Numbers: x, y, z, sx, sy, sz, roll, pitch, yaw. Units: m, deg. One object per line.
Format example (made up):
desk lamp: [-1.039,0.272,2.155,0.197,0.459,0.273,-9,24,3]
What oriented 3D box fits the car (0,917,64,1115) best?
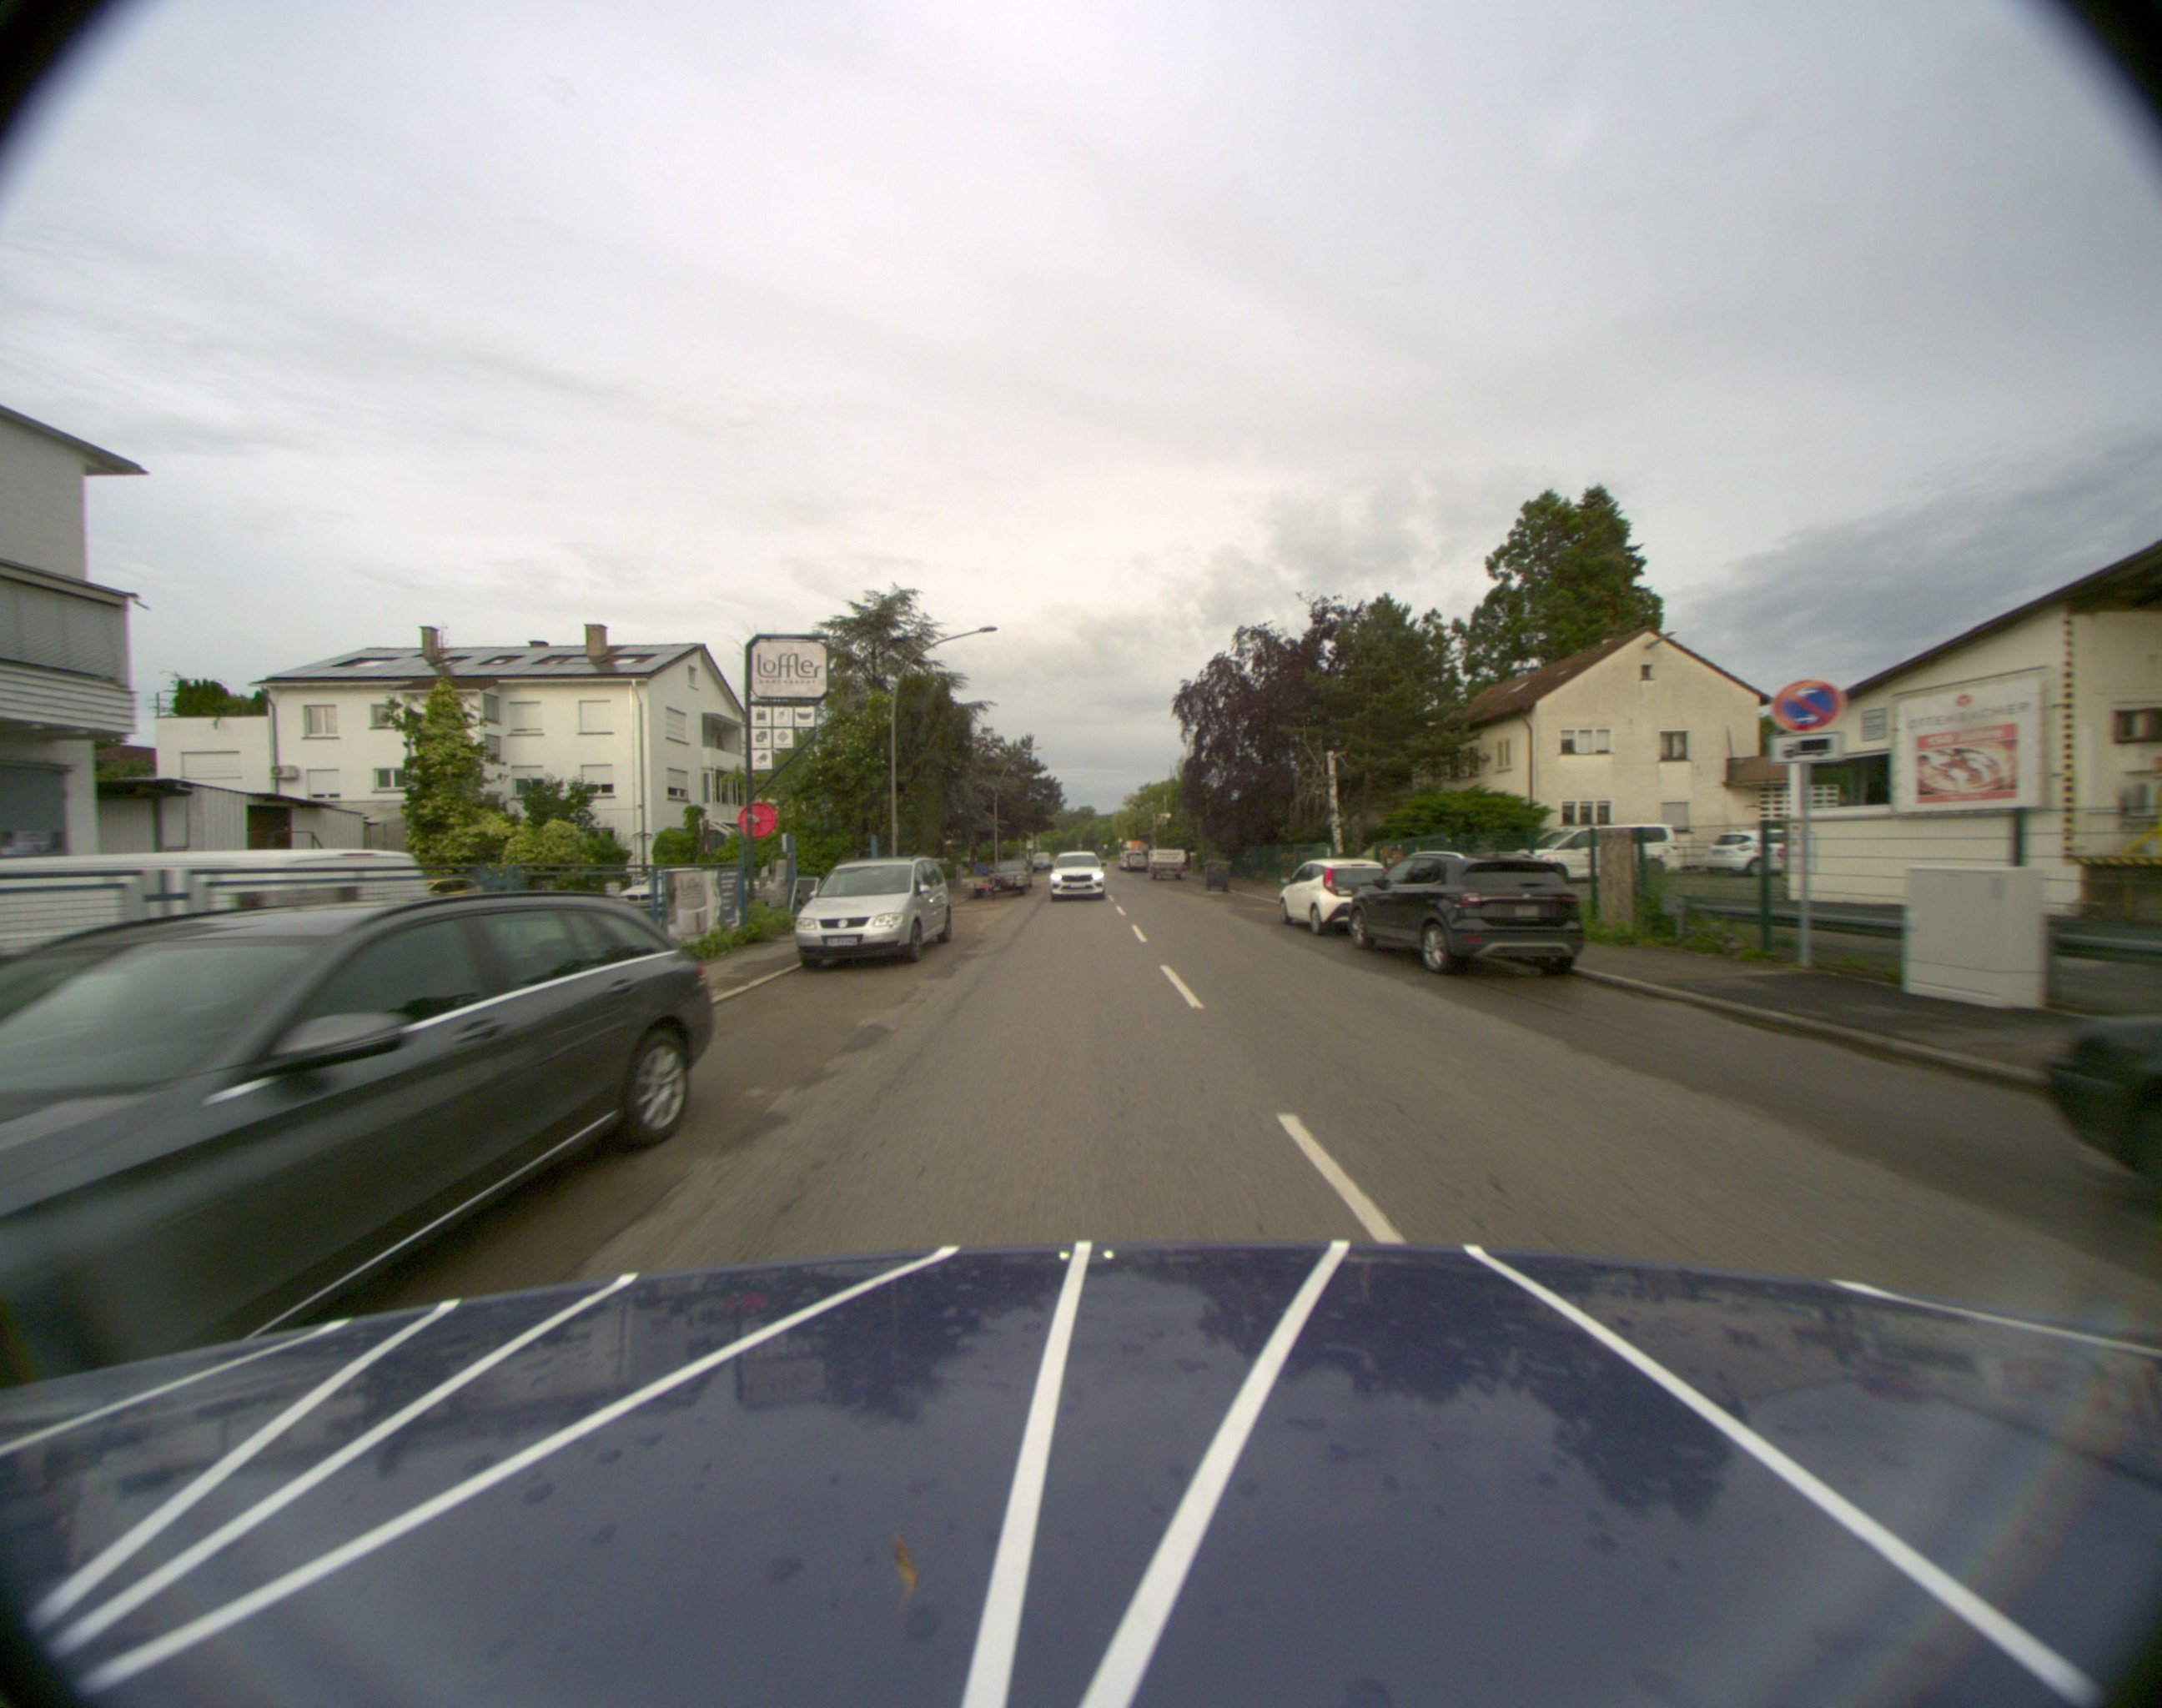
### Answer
car: [-9.797,1.252,4.712,4.331,1.371,1.850,-2,1,-1]

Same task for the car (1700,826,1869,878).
car: [23.821,-0.061,25.838,3.996,1.543,1.785,-2,1,2]

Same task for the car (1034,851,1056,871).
car: [-3.545,0.639,75.058,1.736,1.817,5.553,-3,0,1]

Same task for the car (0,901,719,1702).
car: [-3.205,1.089,2.633,1.743,1.458,4.544,-2,1,-1]

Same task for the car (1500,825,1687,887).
car: [17.528,0.064,26.189,5.010,1.846,2.000,-2,1,2]

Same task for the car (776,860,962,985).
car: [-3.321,0.988,12.875,1.743,1.612,4.373,-2,1,2]

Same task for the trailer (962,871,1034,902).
trailer: [-3.200,1.237,30.667,2.179,0.892,6.636,-2,0,0]

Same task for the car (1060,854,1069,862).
car: [-3.217,0.773,148.028,1.743,1.458,4.544,-2,1,-1]

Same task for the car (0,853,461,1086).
car: [-9.344,1.034,7.465,4.744,1.875,2.000,-2,1,0]

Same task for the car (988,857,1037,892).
car: [-3.302,0.934,37.238,1.744,1.424,4.648,-4,1,2]

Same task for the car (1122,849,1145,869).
car: [5.106,0.461,73.893,1.898,1.881,5.209,0,1,0]

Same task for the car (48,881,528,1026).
car: [-10.091,1.215,9.974,4.114,1.448,2.000,-2,1,0]

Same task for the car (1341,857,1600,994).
car: [5.307,0.865,10.995,1.665,1.575,3.915,1,1,-1]

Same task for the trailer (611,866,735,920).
trailer: [-13.667,1.241,25.847,1.773,1.511,4.803,-1,1,-3]

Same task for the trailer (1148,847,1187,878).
trailer: [5.403,0.509,47.844,1.934,1.755,4.548,-2,0,0]

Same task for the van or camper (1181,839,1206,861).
van or camper: [13.156,-0.452,89.202,1.999,2.476,5.196,-2,1,-1]

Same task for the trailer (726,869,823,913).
trailer: [-10.540,1.232,26.456,1.619,1.268,3.892,-2,1,3]

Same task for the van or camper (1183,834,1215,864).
van or camper: [12.840,-0.565,83.086,2.309,3.018,6.149,-2,1,-1]

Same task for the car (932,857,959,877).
car: [-10.813,1.019,60.991,1.749,1.479,4.116,-1,0,-5]

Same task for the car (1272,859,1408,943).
car: [5.267,0.885,15.947,1.620,1.500,3.660,0,1,0]

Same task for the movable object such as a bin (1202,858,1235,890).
movable object such as a bin: [5.873,0.843,32.532,1.103,1.303,1.425,-2,1,0]

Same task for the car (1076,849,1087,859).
car: [0.136,-0.005,138.211,1.898,1.678,4.230,0,1,0]

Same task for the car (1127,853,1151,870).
car: [5.192,0.644,68.456,1.821,1.419,4.980,0,0,0]

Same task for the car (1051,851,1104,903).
car: [-0.205,0.763,27.166,1.692,1.651,3.999,-3,1,-2]

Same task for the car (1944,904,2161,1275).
car: [5.230,0.987,1.669,1.666,1.440,4.316,0,0,-2]
